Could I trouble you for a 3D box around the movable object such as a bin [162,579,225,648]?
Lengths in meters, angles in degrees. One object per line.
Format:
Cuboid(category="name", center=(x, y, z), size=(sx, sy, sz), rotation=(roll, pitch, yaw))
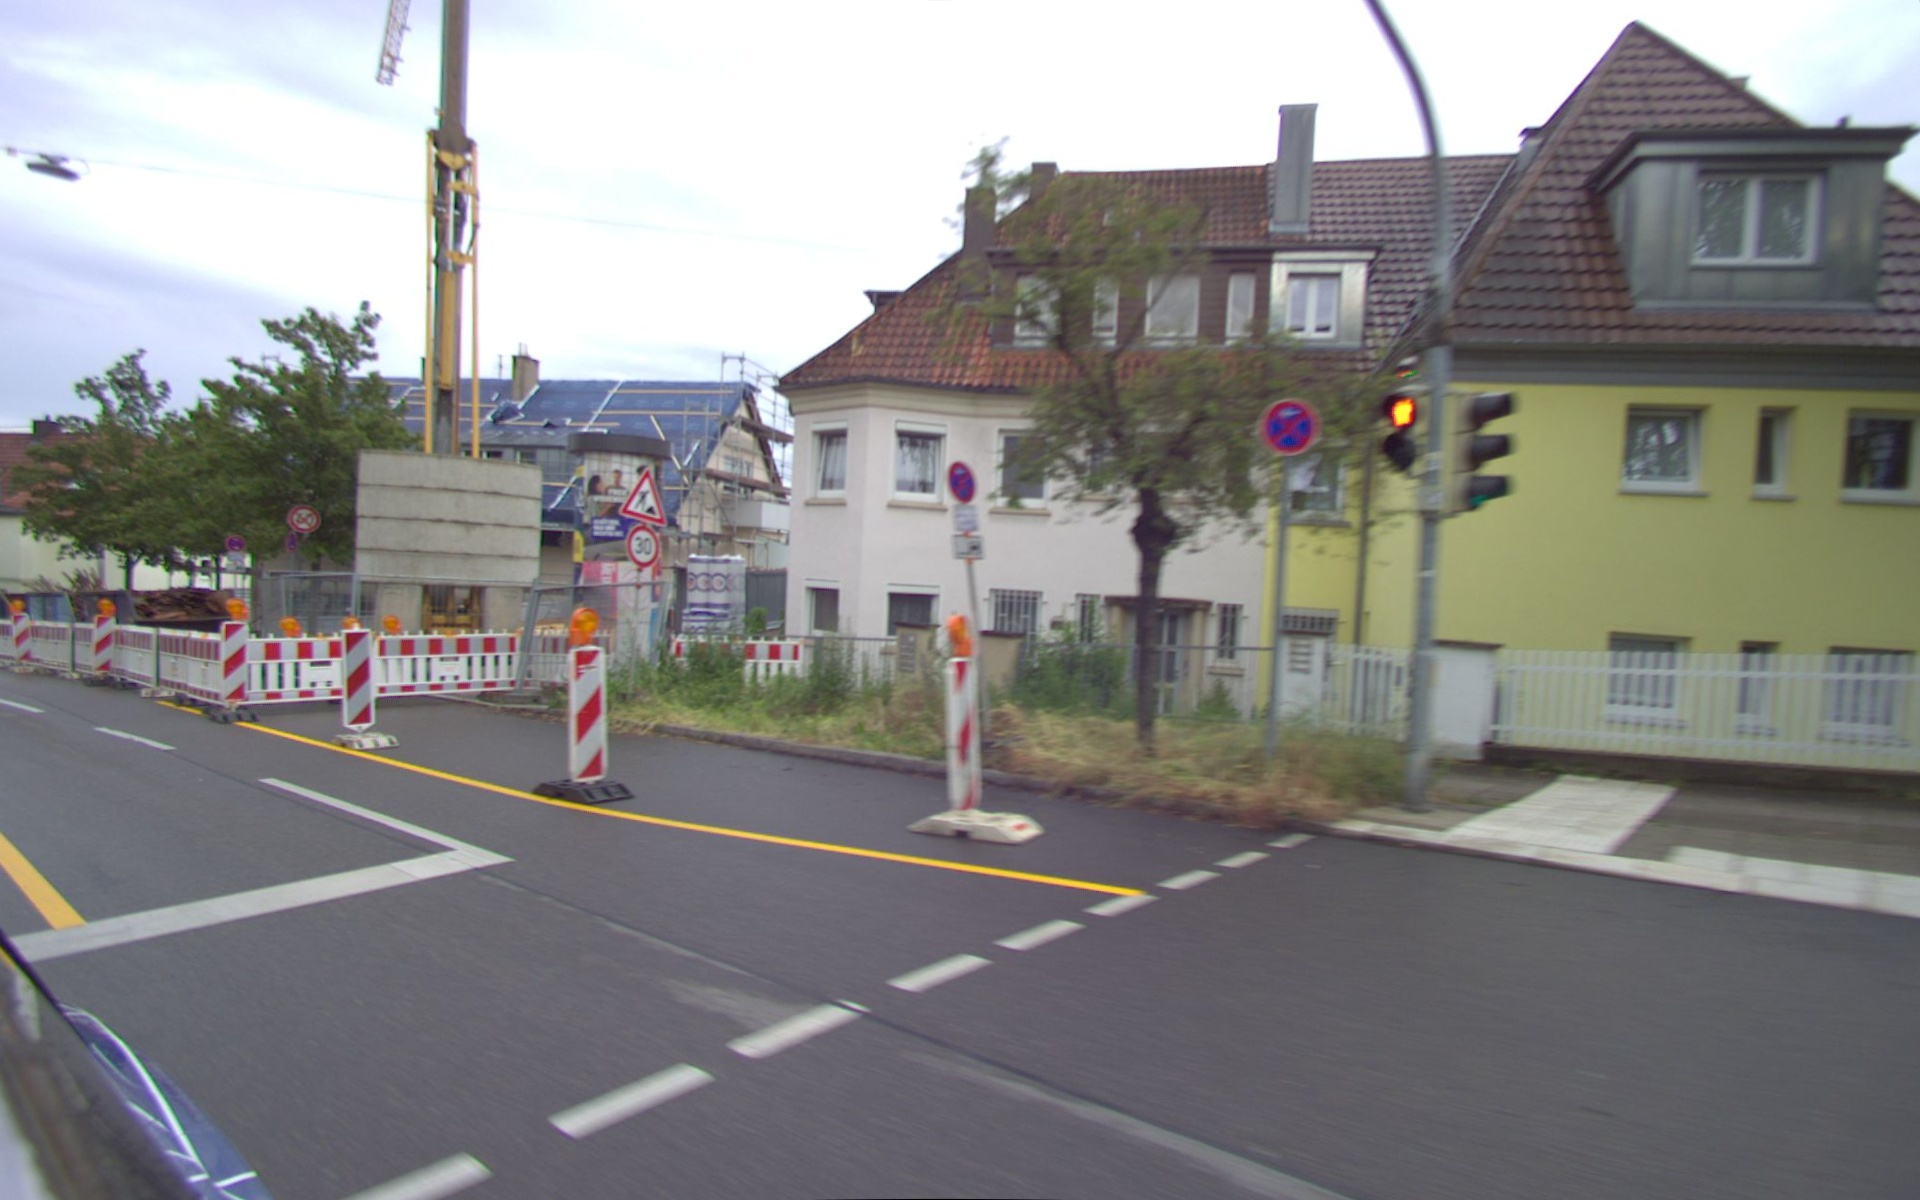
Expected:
Cuboid(category="movable object such as a bin", center=(-28.657, 0.510, 37.871), size=(1.374, 2.524, 1.310), rotation=(-1, 0, 16))
